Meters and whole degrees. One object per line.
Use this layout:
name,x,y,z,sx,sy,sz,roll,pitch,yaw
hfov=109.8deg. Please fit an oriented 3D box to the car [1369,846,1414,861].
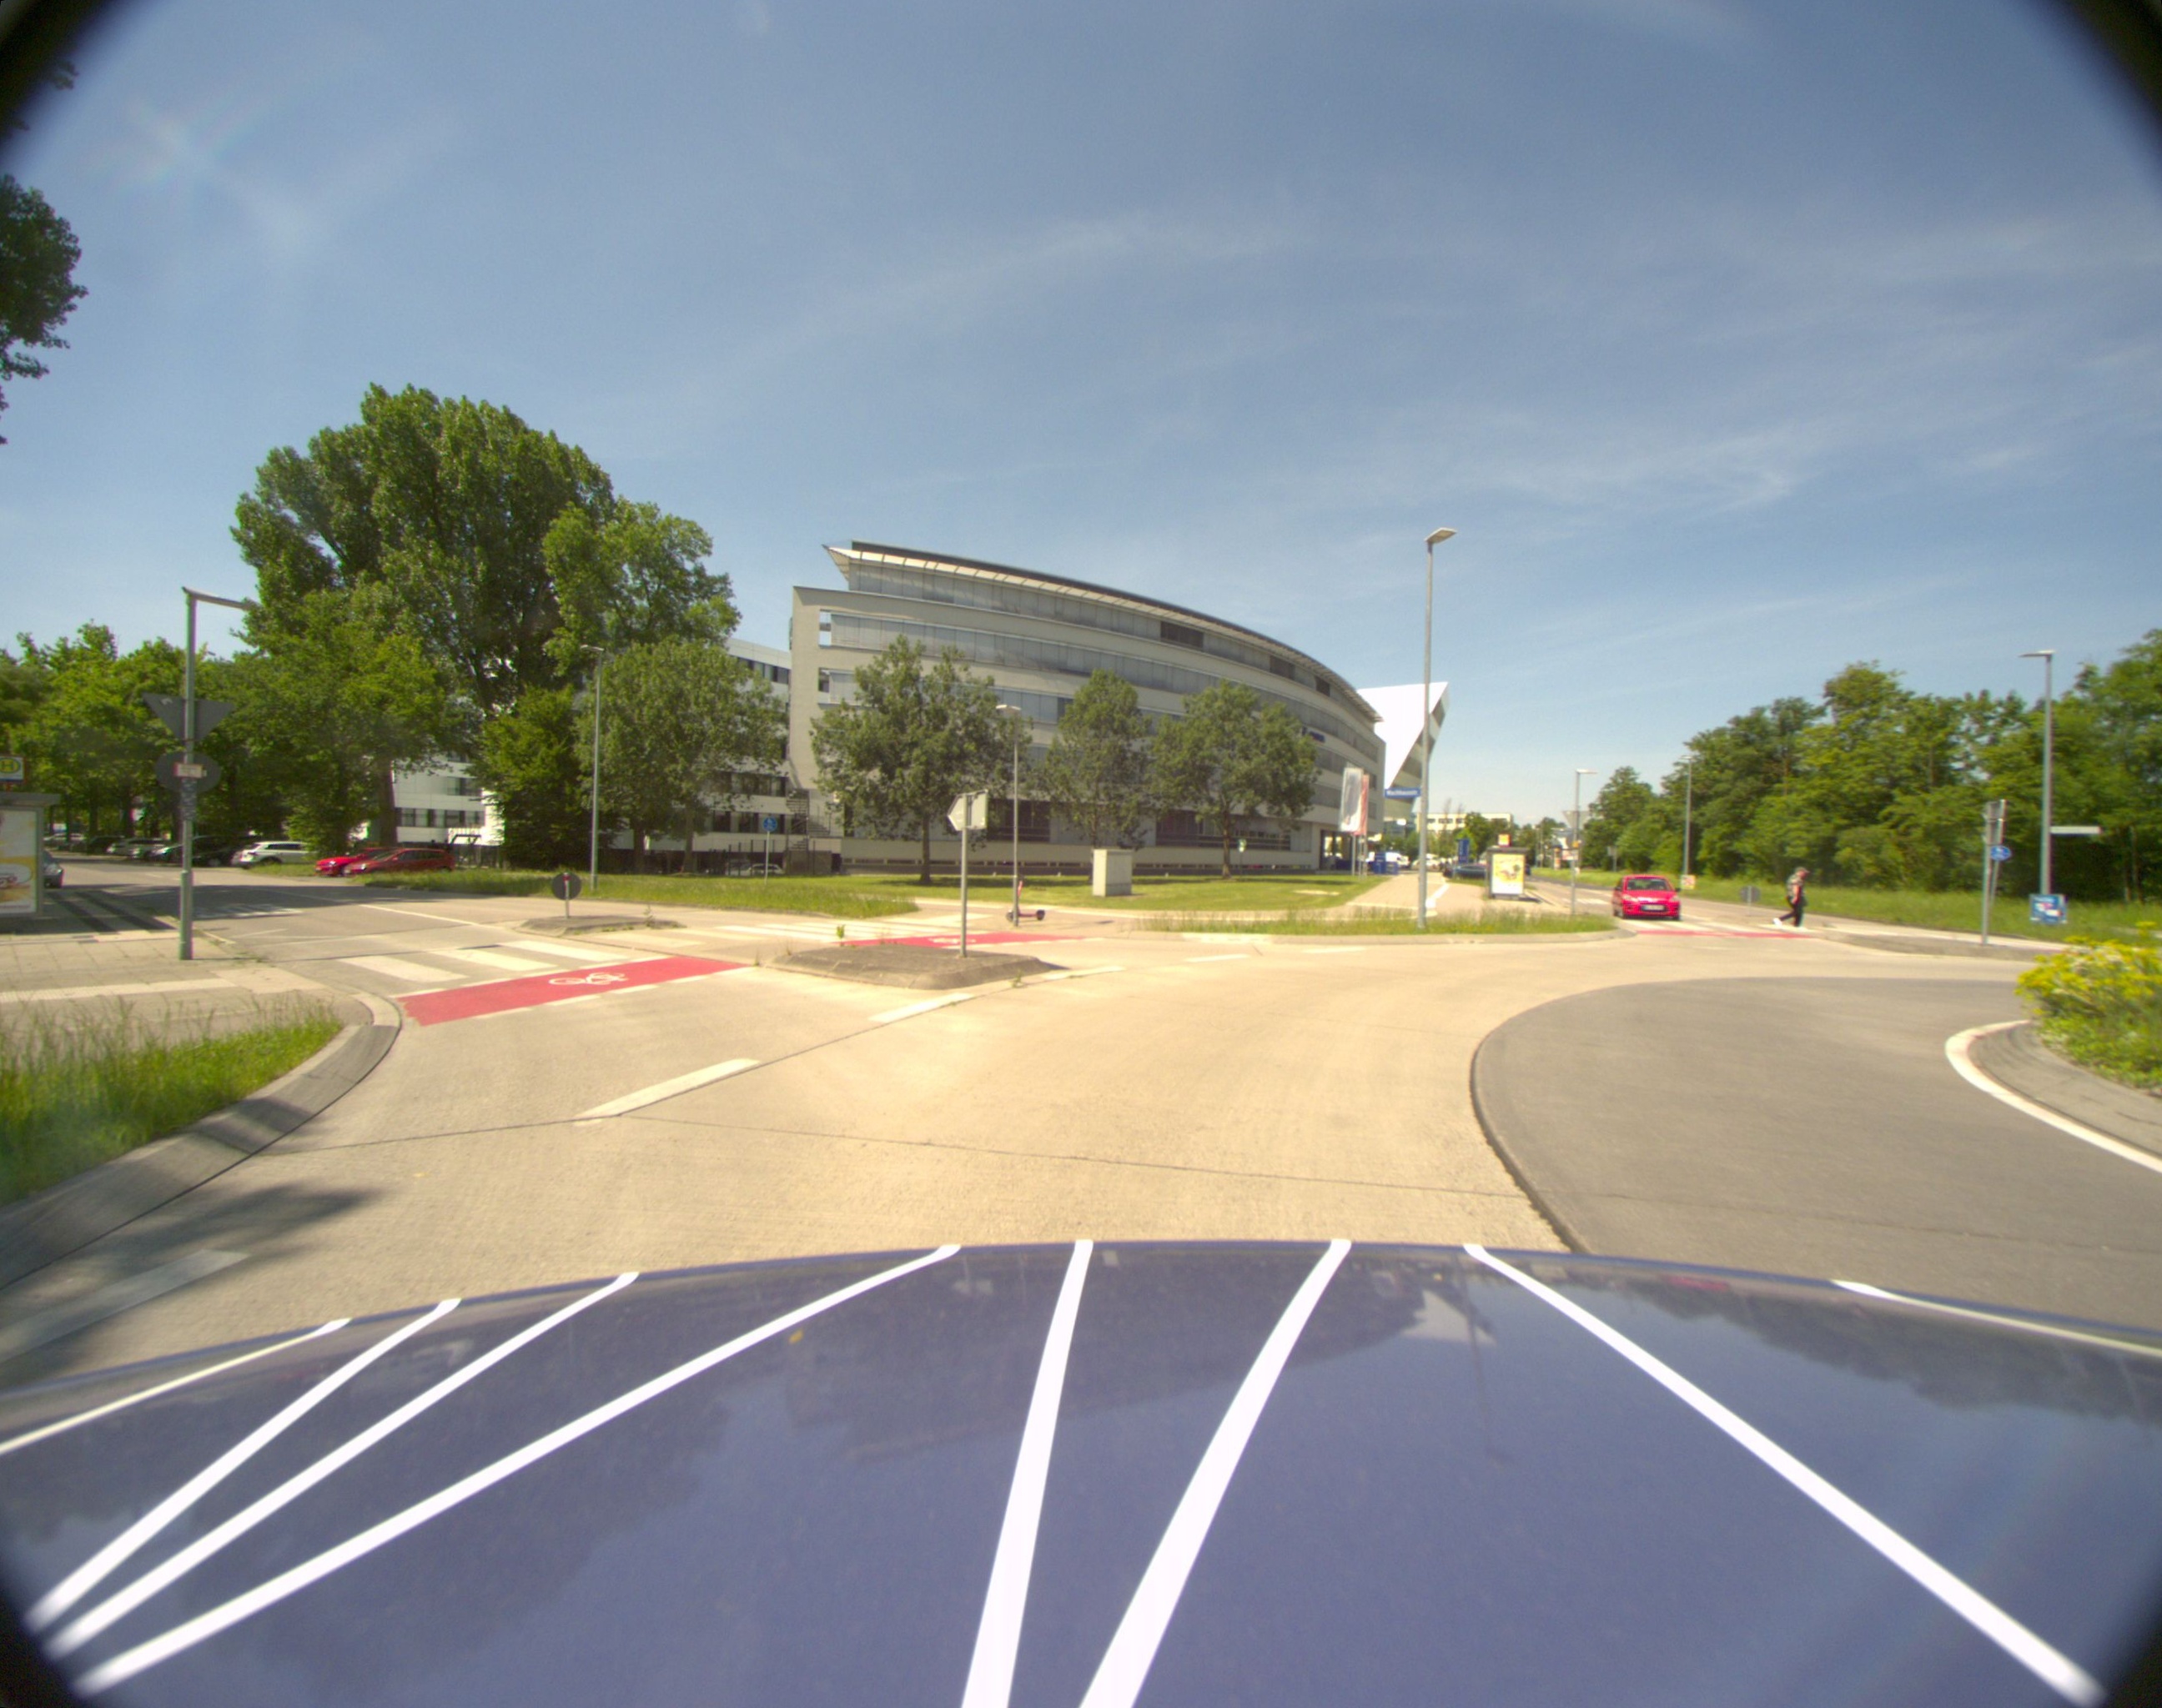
car,53.809,-0.082,131.766,6.950,2.647,2.259,0,1,34

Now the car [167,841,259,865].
car,-57.858,-0.070,50.711,1.755,1.560,3.782,0,1,31

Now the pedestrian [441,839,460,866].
pedestrian,-36.990,-0.086,44.558,0.643,1.599,0.573,0,1,17

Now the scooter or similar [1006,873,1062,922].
scooter or similar,-1.182,1.089,19.367,1.401,1.195,0.447,0,1,-36

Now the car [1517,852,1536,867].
car,62.073,0.762,106.012,1.995,2.002,4.007,0,1,26

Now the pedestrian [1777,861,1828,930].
pedestrian,19.915,1.129,20.991,0.708,1.812,0.828,4,2,26

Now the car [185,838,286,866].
car,-53.671,-0.161,48.298,1.755,1.696,4.008,0,1,31

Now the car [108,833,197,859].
car,-70.352,-0.600,57.656,1.680,1.861,4.007,0,1,29

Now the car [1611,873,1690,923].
car,19.622,1.448,26.309,1.659,1.494,3.363,0,1,28

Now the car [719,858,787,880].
car,-24.080,1.065,55.948,1.848,1.560,4.365,0,1,31

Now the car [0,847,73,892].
car,-36.422,0.513,26.084,3.989,1.477,1.707,0,-2,31

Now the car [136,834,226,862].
car,-66.151,-0.457,55.907,1.994,2.002,4.008,0,1,30

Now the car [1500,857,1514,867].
car,75.542,1.418,134.846,1.777,1.587,4.007,0,1,25

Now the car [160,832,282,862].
car,-59.232,-0.478,52.465,1.755,1.974,5.325,1,1,30

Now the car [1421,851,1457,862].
car,72.311,0.470,153.480,6.481,2.137,2.169,0,1,32

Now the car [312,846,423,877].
car,-36.335,0.355,38.766,1.864,1.474,3.692,0,1,27

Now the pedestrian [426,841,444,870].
pedestrian,-37.249,0.084,43.797,0.485,1.607,0.589,0,1,18

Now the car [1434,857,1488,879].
car,31.869,1.149,63.775,3.989,1.646,1.842,2,1,28

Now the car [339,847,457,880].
car,-32.182,0.421,35.919,1.864,1.474,3.692,0,1,27

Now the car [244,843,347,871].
car,-45.000,0.136,43.612,1.808,1.508,3.793,0,1,30

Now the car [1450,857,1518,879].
car,31.943,1.061,60.405,4.569,1.424,1.830,4,2,24
